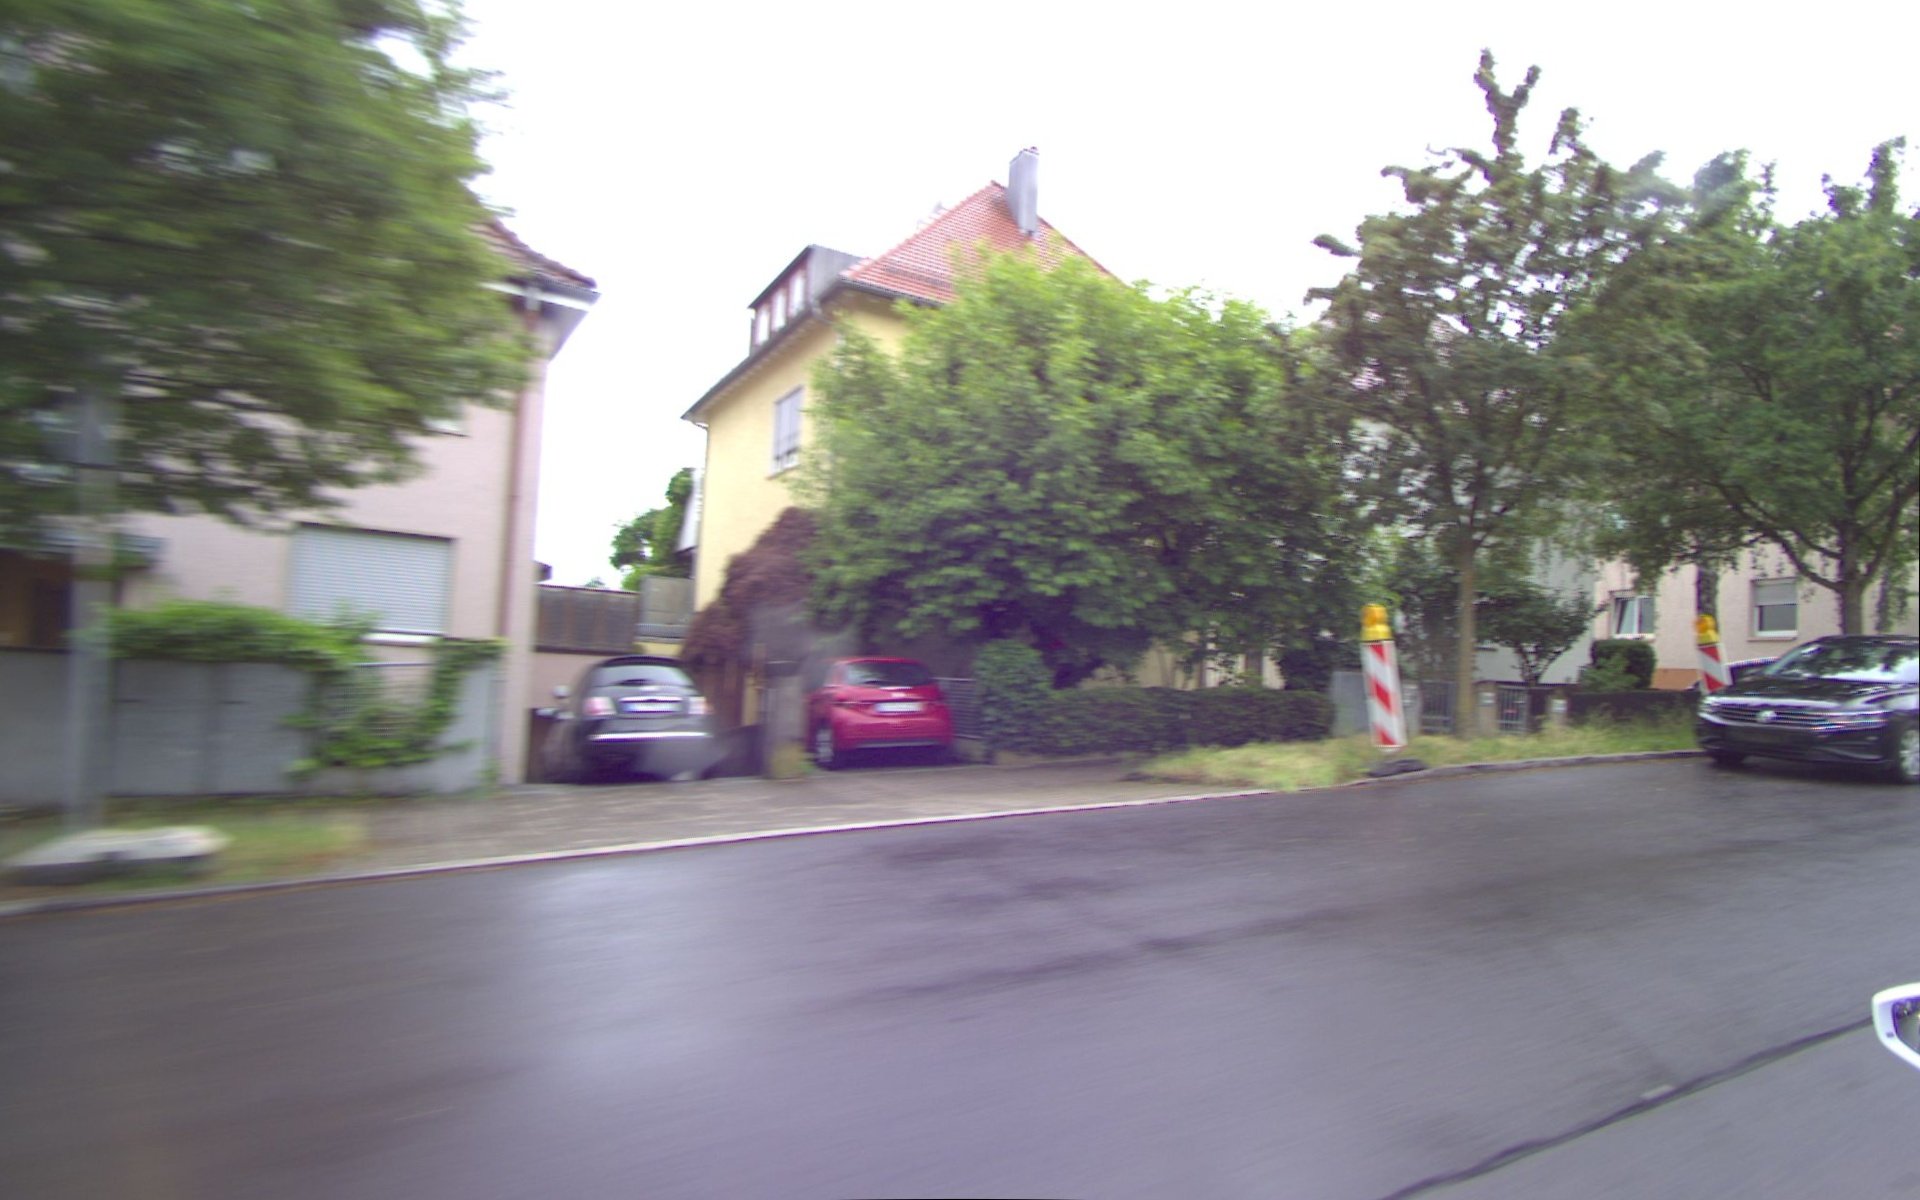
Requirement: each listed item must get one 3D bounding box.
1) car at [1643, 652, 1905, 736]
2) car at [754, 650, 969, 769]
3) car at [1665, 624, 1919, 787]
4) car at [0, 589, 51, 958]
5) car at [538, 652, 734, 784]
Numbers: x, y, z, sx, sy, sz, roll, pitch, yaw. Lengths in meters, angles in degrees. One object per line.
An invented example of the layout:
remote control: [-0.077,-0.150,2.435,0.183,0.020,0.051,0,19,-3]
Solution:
car: [17.826,2.175,22.328,1.879,1.522,4.252,1,-10,-9]
car: [-1.537,1.616,14.123,1.756,1.411,3.909,2,-9,-26]
car: [10.087,1.067,11.143,4.468,1.503,1.727,2,-1,-25]
car: [-5.255,0.693,3.357,3.002,1.555,1.510,2,-3,-32]
car: [-4.218,1.548,12.709,1.804,1.377,3.909,2,-9,-26]
